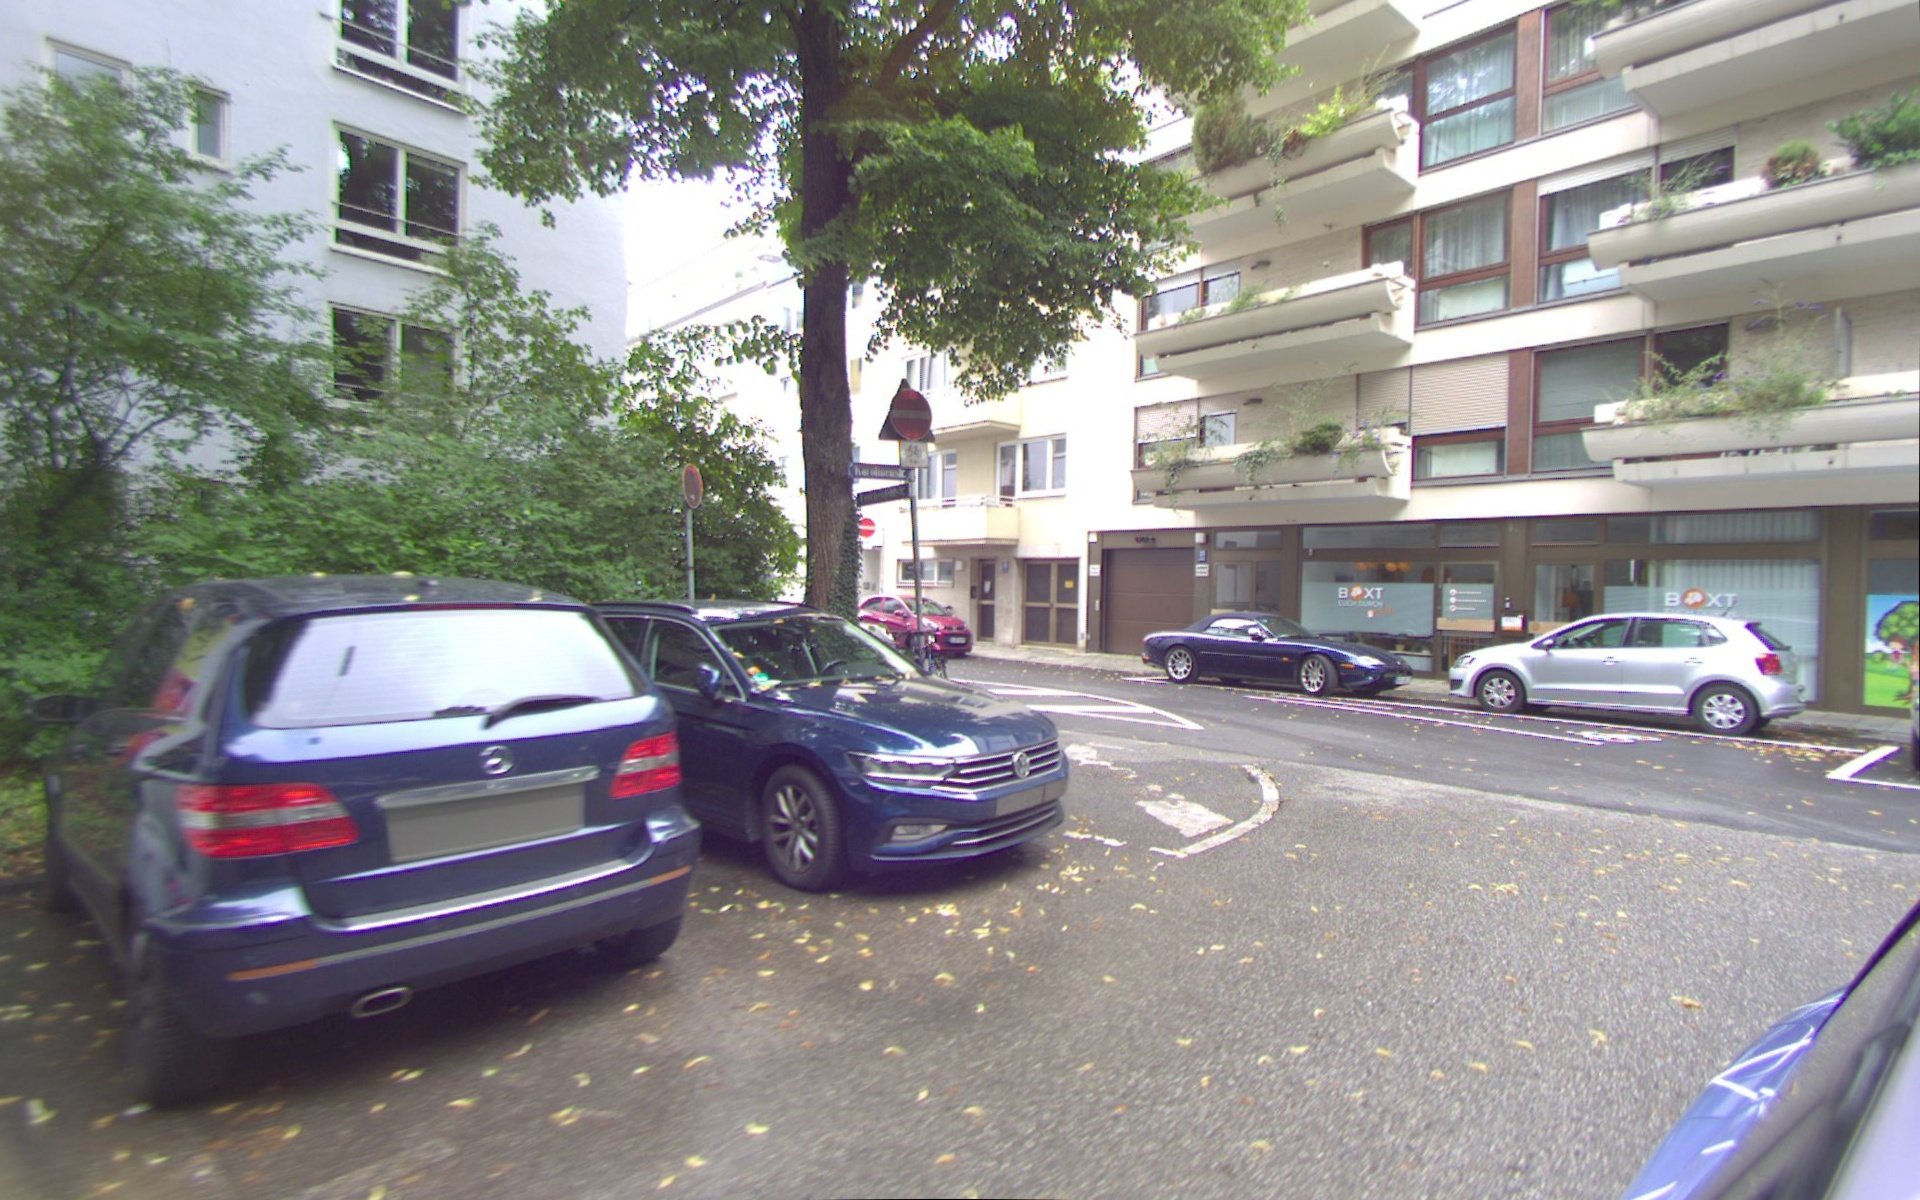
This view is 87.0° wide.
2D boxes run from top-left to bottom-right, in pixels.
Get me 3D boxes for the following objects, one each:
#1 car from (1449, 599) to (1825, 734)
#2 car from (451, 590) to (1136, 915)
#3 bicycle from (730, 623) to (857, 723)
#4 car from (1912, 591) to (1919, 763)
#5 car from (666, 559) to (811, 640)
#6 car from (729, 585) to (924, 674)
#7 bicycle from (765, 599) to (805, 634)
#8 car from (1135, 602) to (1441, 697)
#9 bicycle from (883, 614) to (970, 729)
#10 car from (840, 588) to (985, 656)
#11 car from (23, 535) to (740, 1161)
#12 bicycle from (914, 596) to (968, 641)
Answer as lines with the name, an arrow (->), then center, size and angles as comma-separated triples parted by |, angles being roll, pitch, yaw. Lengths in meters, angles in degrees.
car -> 8.654, 0.768, 13.179 | 1.539, 1.439, 3.825 | 3, -1, -42
car -> -1.369, 0.666, 6.804 | 4.710, 1.394, 1.932 | 1, 1, 39
bicycle -> -2.005, 0.850, 12.362 | 0.601, 1.069, 1.616 | 1, 1, 33
car -> 10.306, 0.774, 9.488 | 4.168, 1.473, 1.718 | 4, -2, -43
car -> -6.983, -0.056, 31.500 | 1.989, 2.308, 5.382 | 3, 0, -41
car -> -2.601, 0.474, 19.043 | 1.718, 1.459, 3.994 | 1, 0, -41
bicycle -> -6.015, 0.558, 34.741 | 0.456, 1.111, 1.868 | 0, 1, -40
car -> 5.324, 0.749, 16.946 | 1.771, 1.294, 4.608 | 3, -1, -42
bicycle -> -0.351, 0.763, 11.568 | 0.546, 1.152, 1.766 | 1, 1, 13
car -> -1.232, 0.490, 25.072 | 1.597, 1.515, 3.701 | 1, 0, -43
car -> -2.859, 0.577, 4.548 | 3.971, 1.575, 1.729 | 2, 1, 43
bicycle -> -0.539, 0.483, 27.777 | 0.461, 1.163, 1.757 | 0, 1, -41
